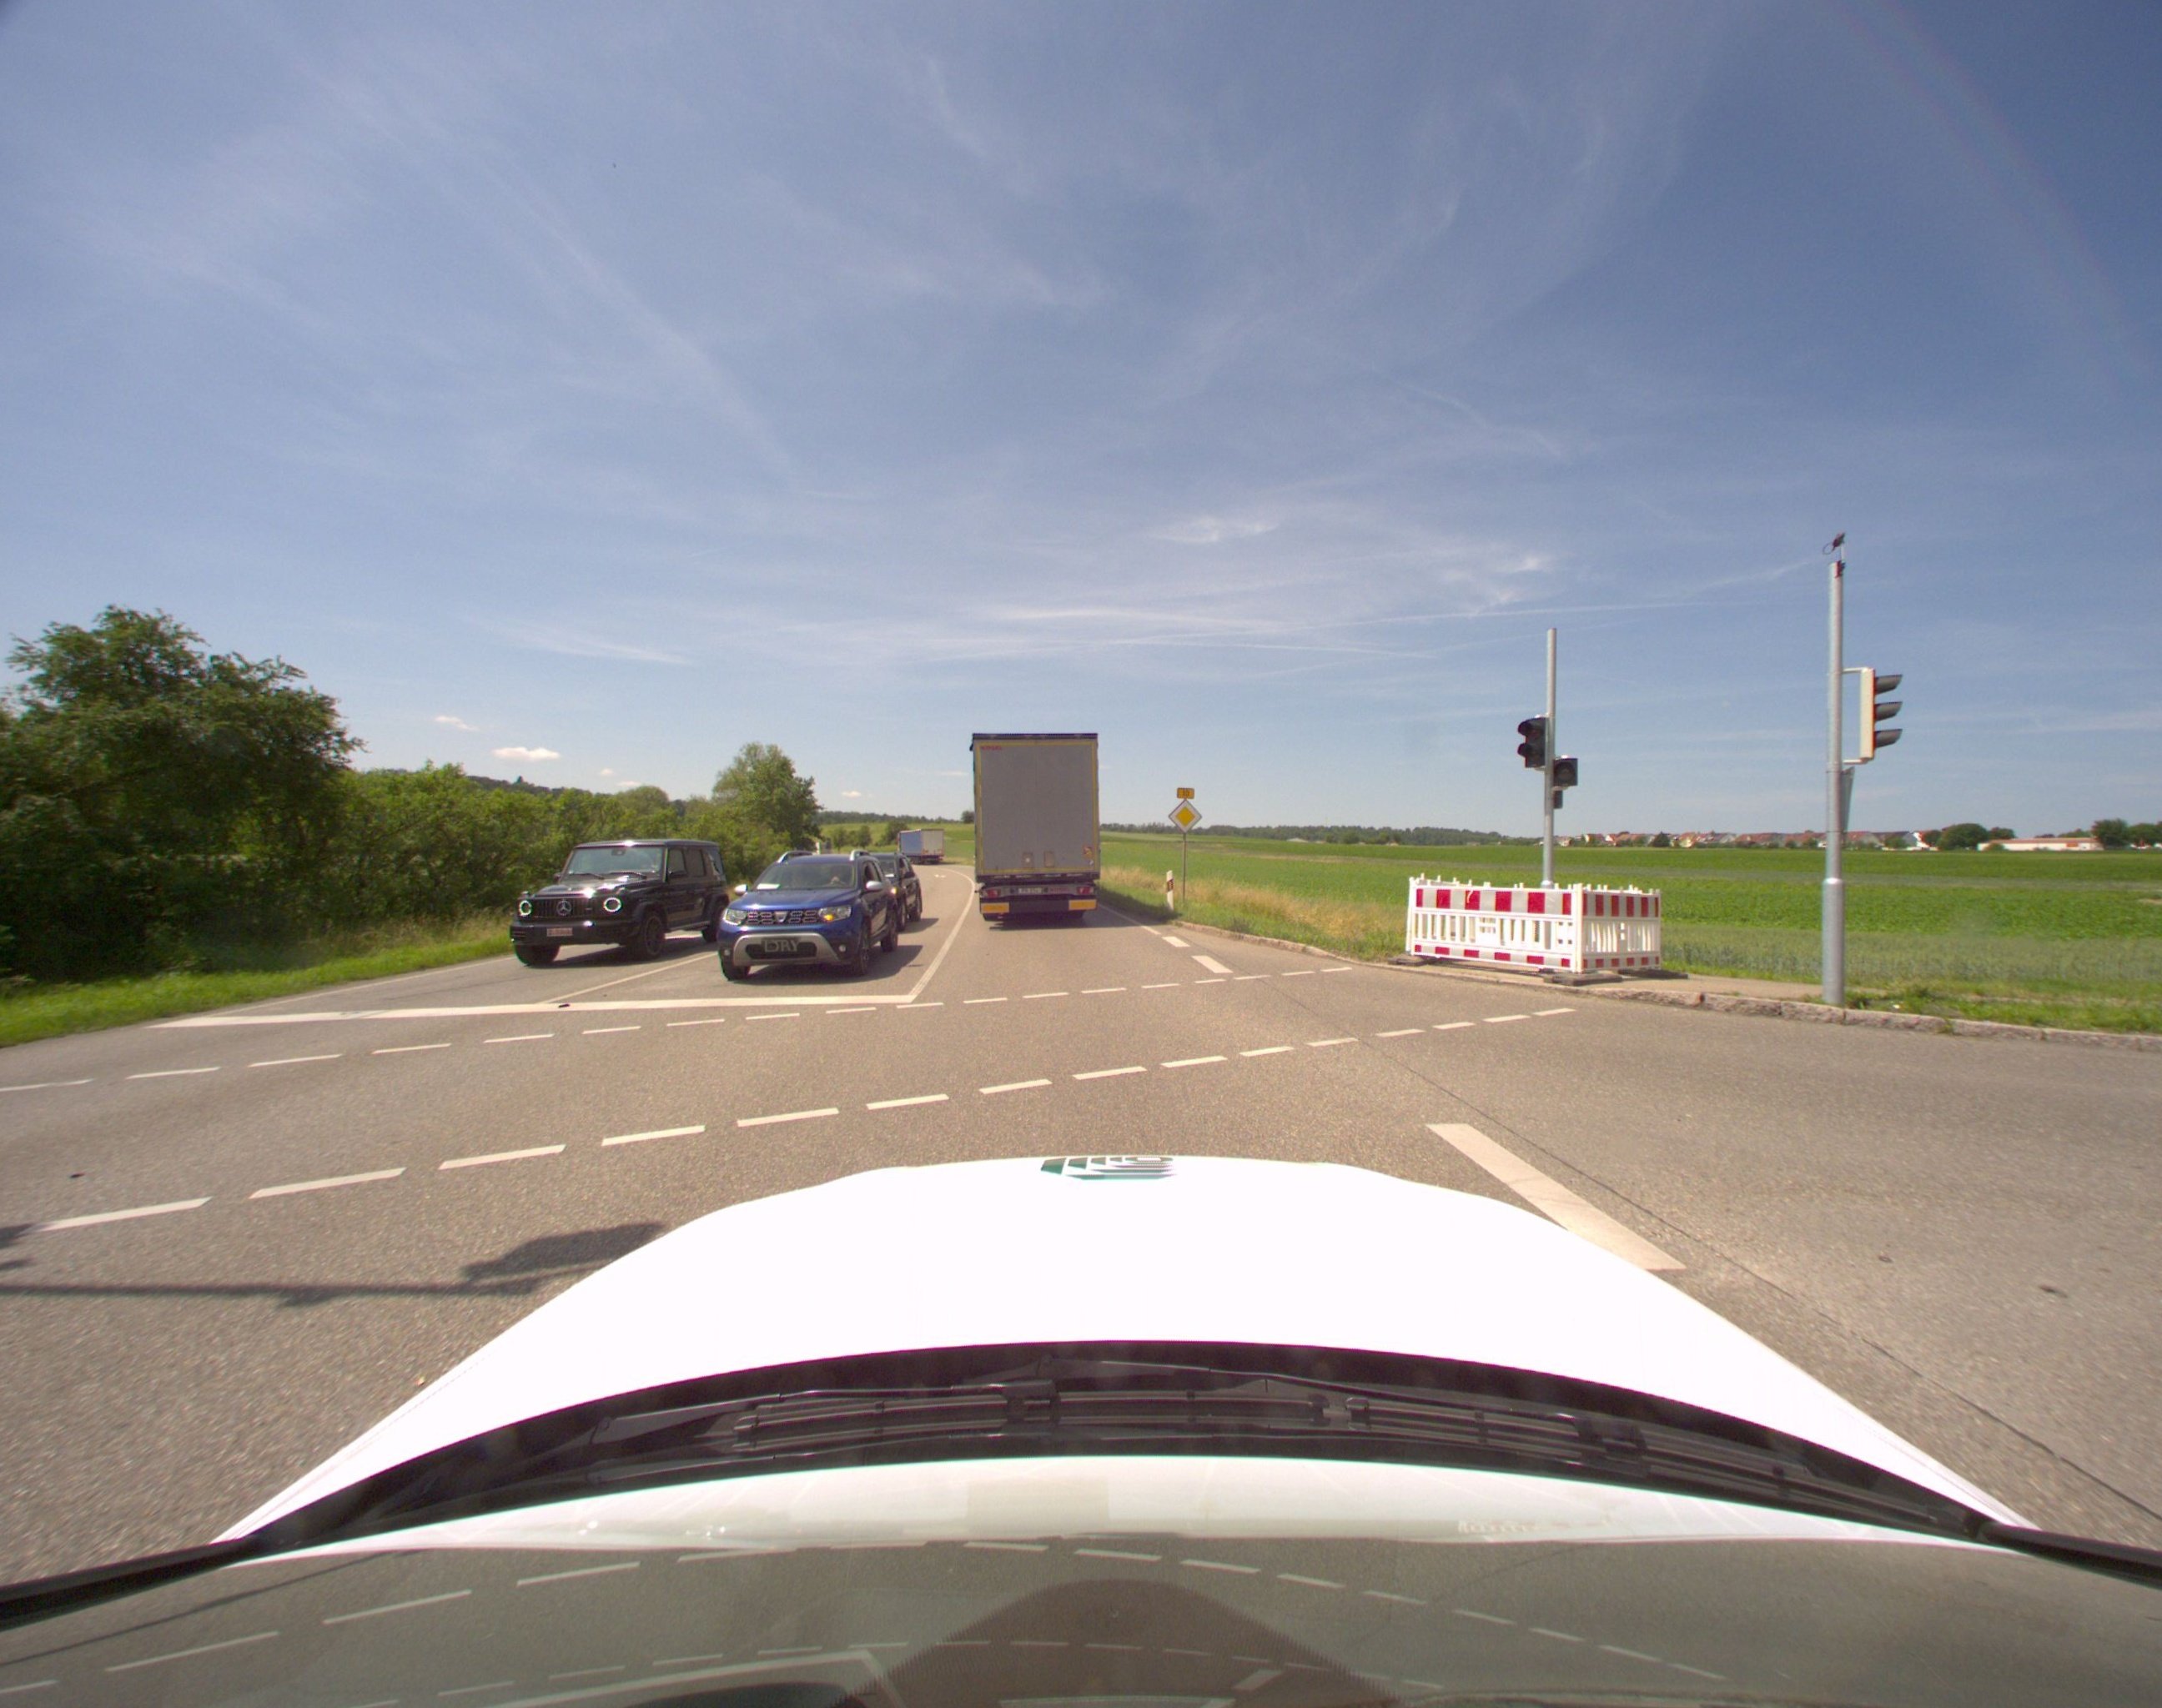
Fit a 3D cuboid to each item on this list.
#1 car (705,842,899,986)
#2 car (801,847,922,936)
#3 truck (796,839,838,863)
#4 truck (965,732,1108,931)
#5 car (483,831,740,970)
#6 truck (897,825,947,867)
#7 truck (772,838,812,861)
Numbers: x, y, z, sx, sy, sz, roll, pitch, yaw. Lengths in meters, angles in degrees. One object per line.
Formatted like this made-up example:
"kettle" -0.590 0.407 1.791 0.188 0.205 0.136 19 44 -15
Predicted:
"car" -3.758 0.723 11.694 1.769 1.658 3.991 -1 0 -6
"car" -4.571 0.731 17.557 1.768 1.658 3.994 -1 0 -4
"truck" -49.739 -0.388 153.118 3.664 4.130 12.954 1 -2 -35
"truck" -1.265 -0.477 21.157 2.803 3.946 9.574 -1 0 -5
"car" -7.916 0.687 14.461 1.992 2.006 5.153 -1 0 -6
"truck" -19.374 -0.912 97.941 2.973 4.584 16.196 0 0 -22
"truck" -59.106 -0.800 166.349 3.557 4.241 13.252 1 -2 -38
